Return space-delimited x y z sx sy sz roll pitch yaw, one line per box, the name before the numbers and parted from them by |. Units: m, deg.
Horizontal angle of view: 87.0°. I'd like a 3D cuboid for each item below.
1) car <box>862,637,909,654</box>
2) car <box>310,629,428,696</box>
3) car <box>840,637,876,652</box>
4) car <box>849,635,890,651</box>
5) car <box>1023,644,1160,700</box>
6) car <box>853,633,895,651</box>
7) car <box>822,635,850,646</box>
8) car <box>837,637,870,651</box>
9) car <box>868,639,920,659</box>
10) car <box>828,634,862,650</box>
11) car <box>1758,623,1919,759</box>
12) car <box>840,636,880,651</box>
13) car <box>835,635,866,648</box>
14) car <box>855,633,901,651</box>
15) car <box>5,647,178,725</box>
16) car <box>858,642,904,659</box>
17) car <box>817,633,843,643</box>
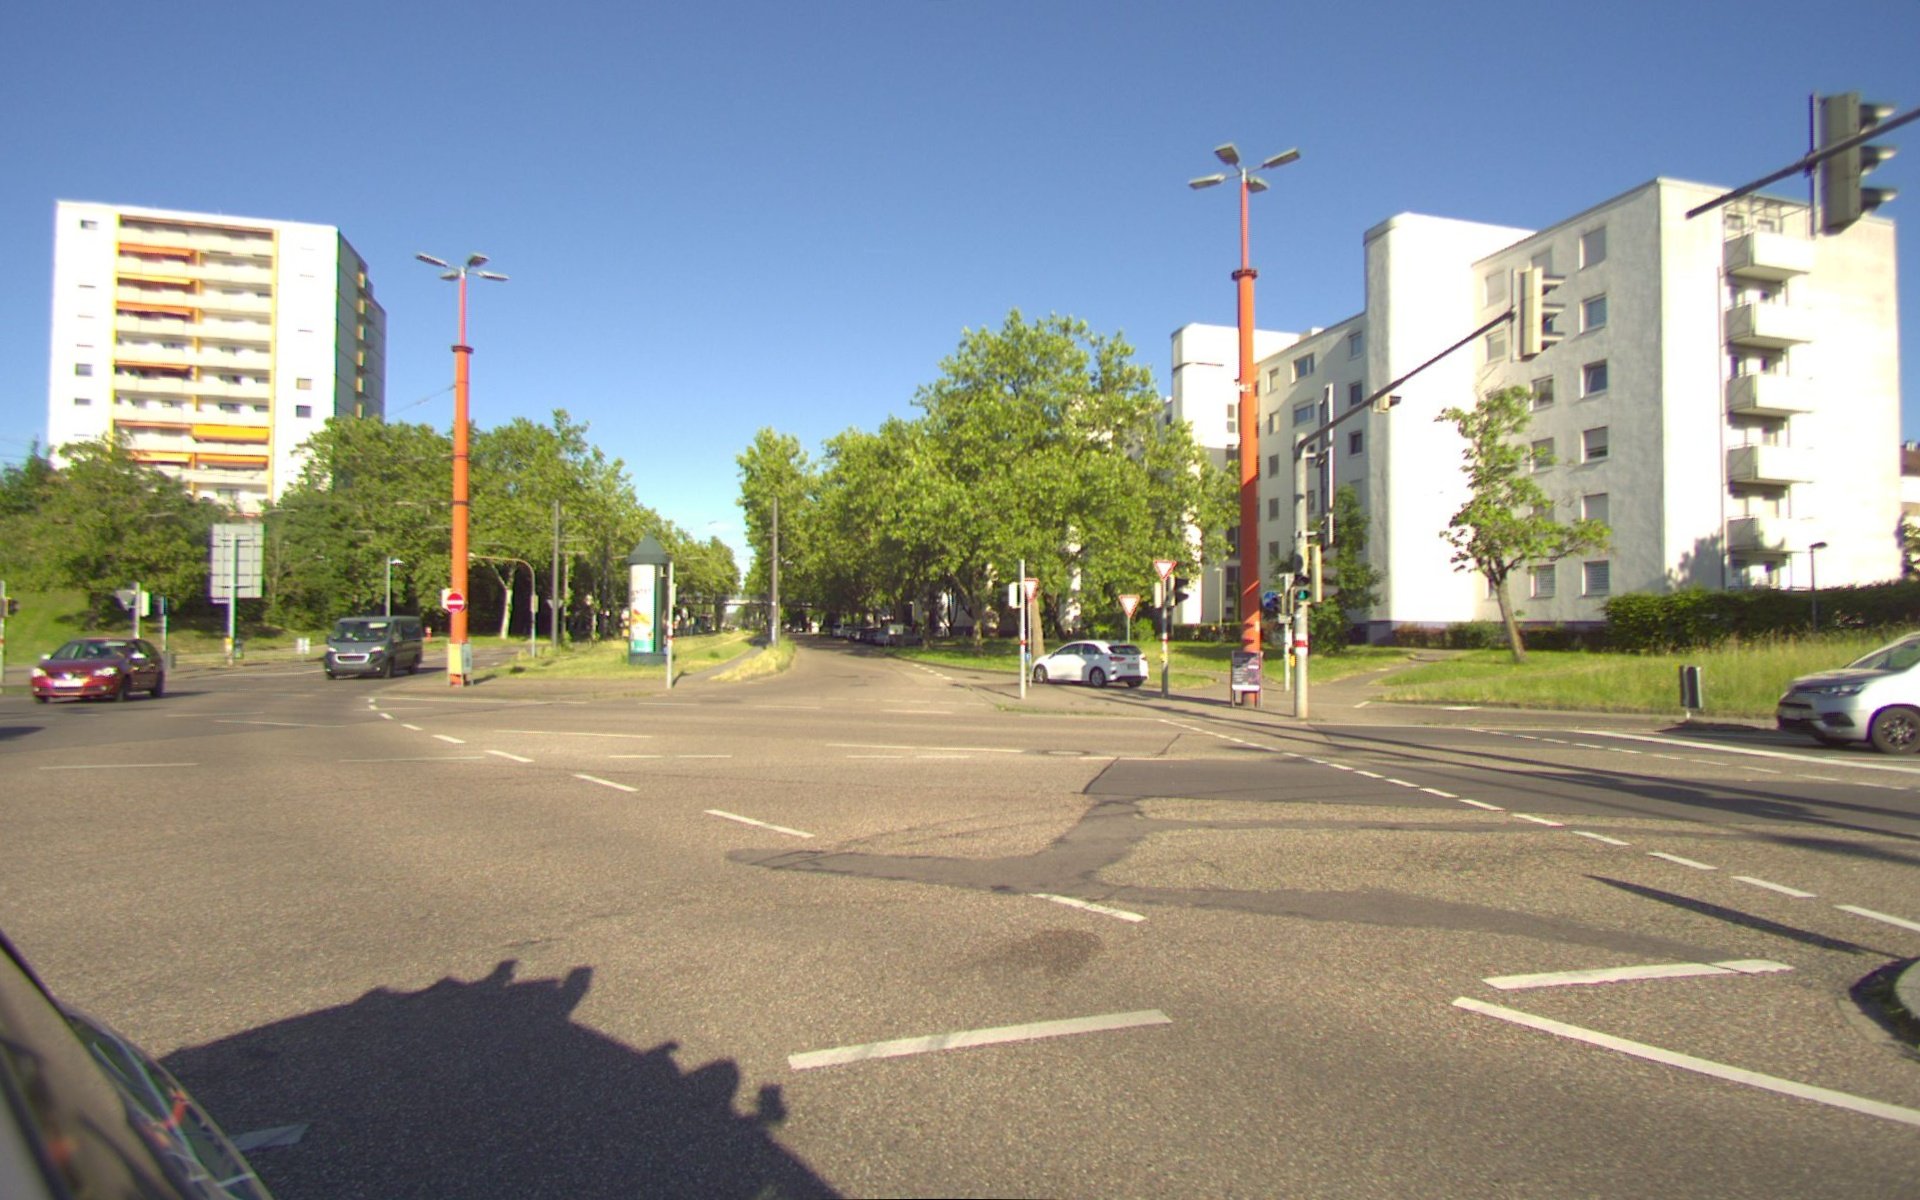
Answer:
car | -6.209 3.801 84.835 1.675 1.398 3.998 -3 -3 38
car | -21.433 2.189 36.994 2.008 2.221 5.674 0 -2 -11
car | -11.349 4.971 112.857 1.792 1.510 3.999 -3 -3 36
car | -9.100 4.347 101.838 1.794 1.510 3.995 -3 -3 39
car | 4.108 2.259 32.228 1.873 1.562 4.269 4 -3 -36
car | -8.336 4.079 98.418 1.794 1.677 3.995 -3 -3 39
car | -18.027 5.819 147.076 1.792 1.510 3.999 -3 -3 36
car | -12.846 5.334 122.531 1.792 1.510 3.999 -3 -3 36
car | -5.076 3.778 78.282 1.812 1.498 3.998 -3 -3 38
car | -14.956 5.484 131.676 2.018 1.934 4.377 -3 -3 36
car | 14.076 1.235 13.896 4.408 1.789 1.894 -1 -4 17
car | -10.435 4.528 105.531 1.794 1.510 3.995 -3 -3 39
car | -13.940 5.304 128.941 1.792 1.510 3.999 -3 -3 36
car | -7.379 3.796 91.353 1.794 1.510 3.995 -3 -3 39
car | -19.954 1.907 23.503 1.742 1.570 4.741 0 -2 -24
car | -6.854 4.382 88.123 1.793 1.398 3.998 -3 -3 38
car | -21.111 6.188 164.502 1.792 1.510 3.999 -3 -3 36
